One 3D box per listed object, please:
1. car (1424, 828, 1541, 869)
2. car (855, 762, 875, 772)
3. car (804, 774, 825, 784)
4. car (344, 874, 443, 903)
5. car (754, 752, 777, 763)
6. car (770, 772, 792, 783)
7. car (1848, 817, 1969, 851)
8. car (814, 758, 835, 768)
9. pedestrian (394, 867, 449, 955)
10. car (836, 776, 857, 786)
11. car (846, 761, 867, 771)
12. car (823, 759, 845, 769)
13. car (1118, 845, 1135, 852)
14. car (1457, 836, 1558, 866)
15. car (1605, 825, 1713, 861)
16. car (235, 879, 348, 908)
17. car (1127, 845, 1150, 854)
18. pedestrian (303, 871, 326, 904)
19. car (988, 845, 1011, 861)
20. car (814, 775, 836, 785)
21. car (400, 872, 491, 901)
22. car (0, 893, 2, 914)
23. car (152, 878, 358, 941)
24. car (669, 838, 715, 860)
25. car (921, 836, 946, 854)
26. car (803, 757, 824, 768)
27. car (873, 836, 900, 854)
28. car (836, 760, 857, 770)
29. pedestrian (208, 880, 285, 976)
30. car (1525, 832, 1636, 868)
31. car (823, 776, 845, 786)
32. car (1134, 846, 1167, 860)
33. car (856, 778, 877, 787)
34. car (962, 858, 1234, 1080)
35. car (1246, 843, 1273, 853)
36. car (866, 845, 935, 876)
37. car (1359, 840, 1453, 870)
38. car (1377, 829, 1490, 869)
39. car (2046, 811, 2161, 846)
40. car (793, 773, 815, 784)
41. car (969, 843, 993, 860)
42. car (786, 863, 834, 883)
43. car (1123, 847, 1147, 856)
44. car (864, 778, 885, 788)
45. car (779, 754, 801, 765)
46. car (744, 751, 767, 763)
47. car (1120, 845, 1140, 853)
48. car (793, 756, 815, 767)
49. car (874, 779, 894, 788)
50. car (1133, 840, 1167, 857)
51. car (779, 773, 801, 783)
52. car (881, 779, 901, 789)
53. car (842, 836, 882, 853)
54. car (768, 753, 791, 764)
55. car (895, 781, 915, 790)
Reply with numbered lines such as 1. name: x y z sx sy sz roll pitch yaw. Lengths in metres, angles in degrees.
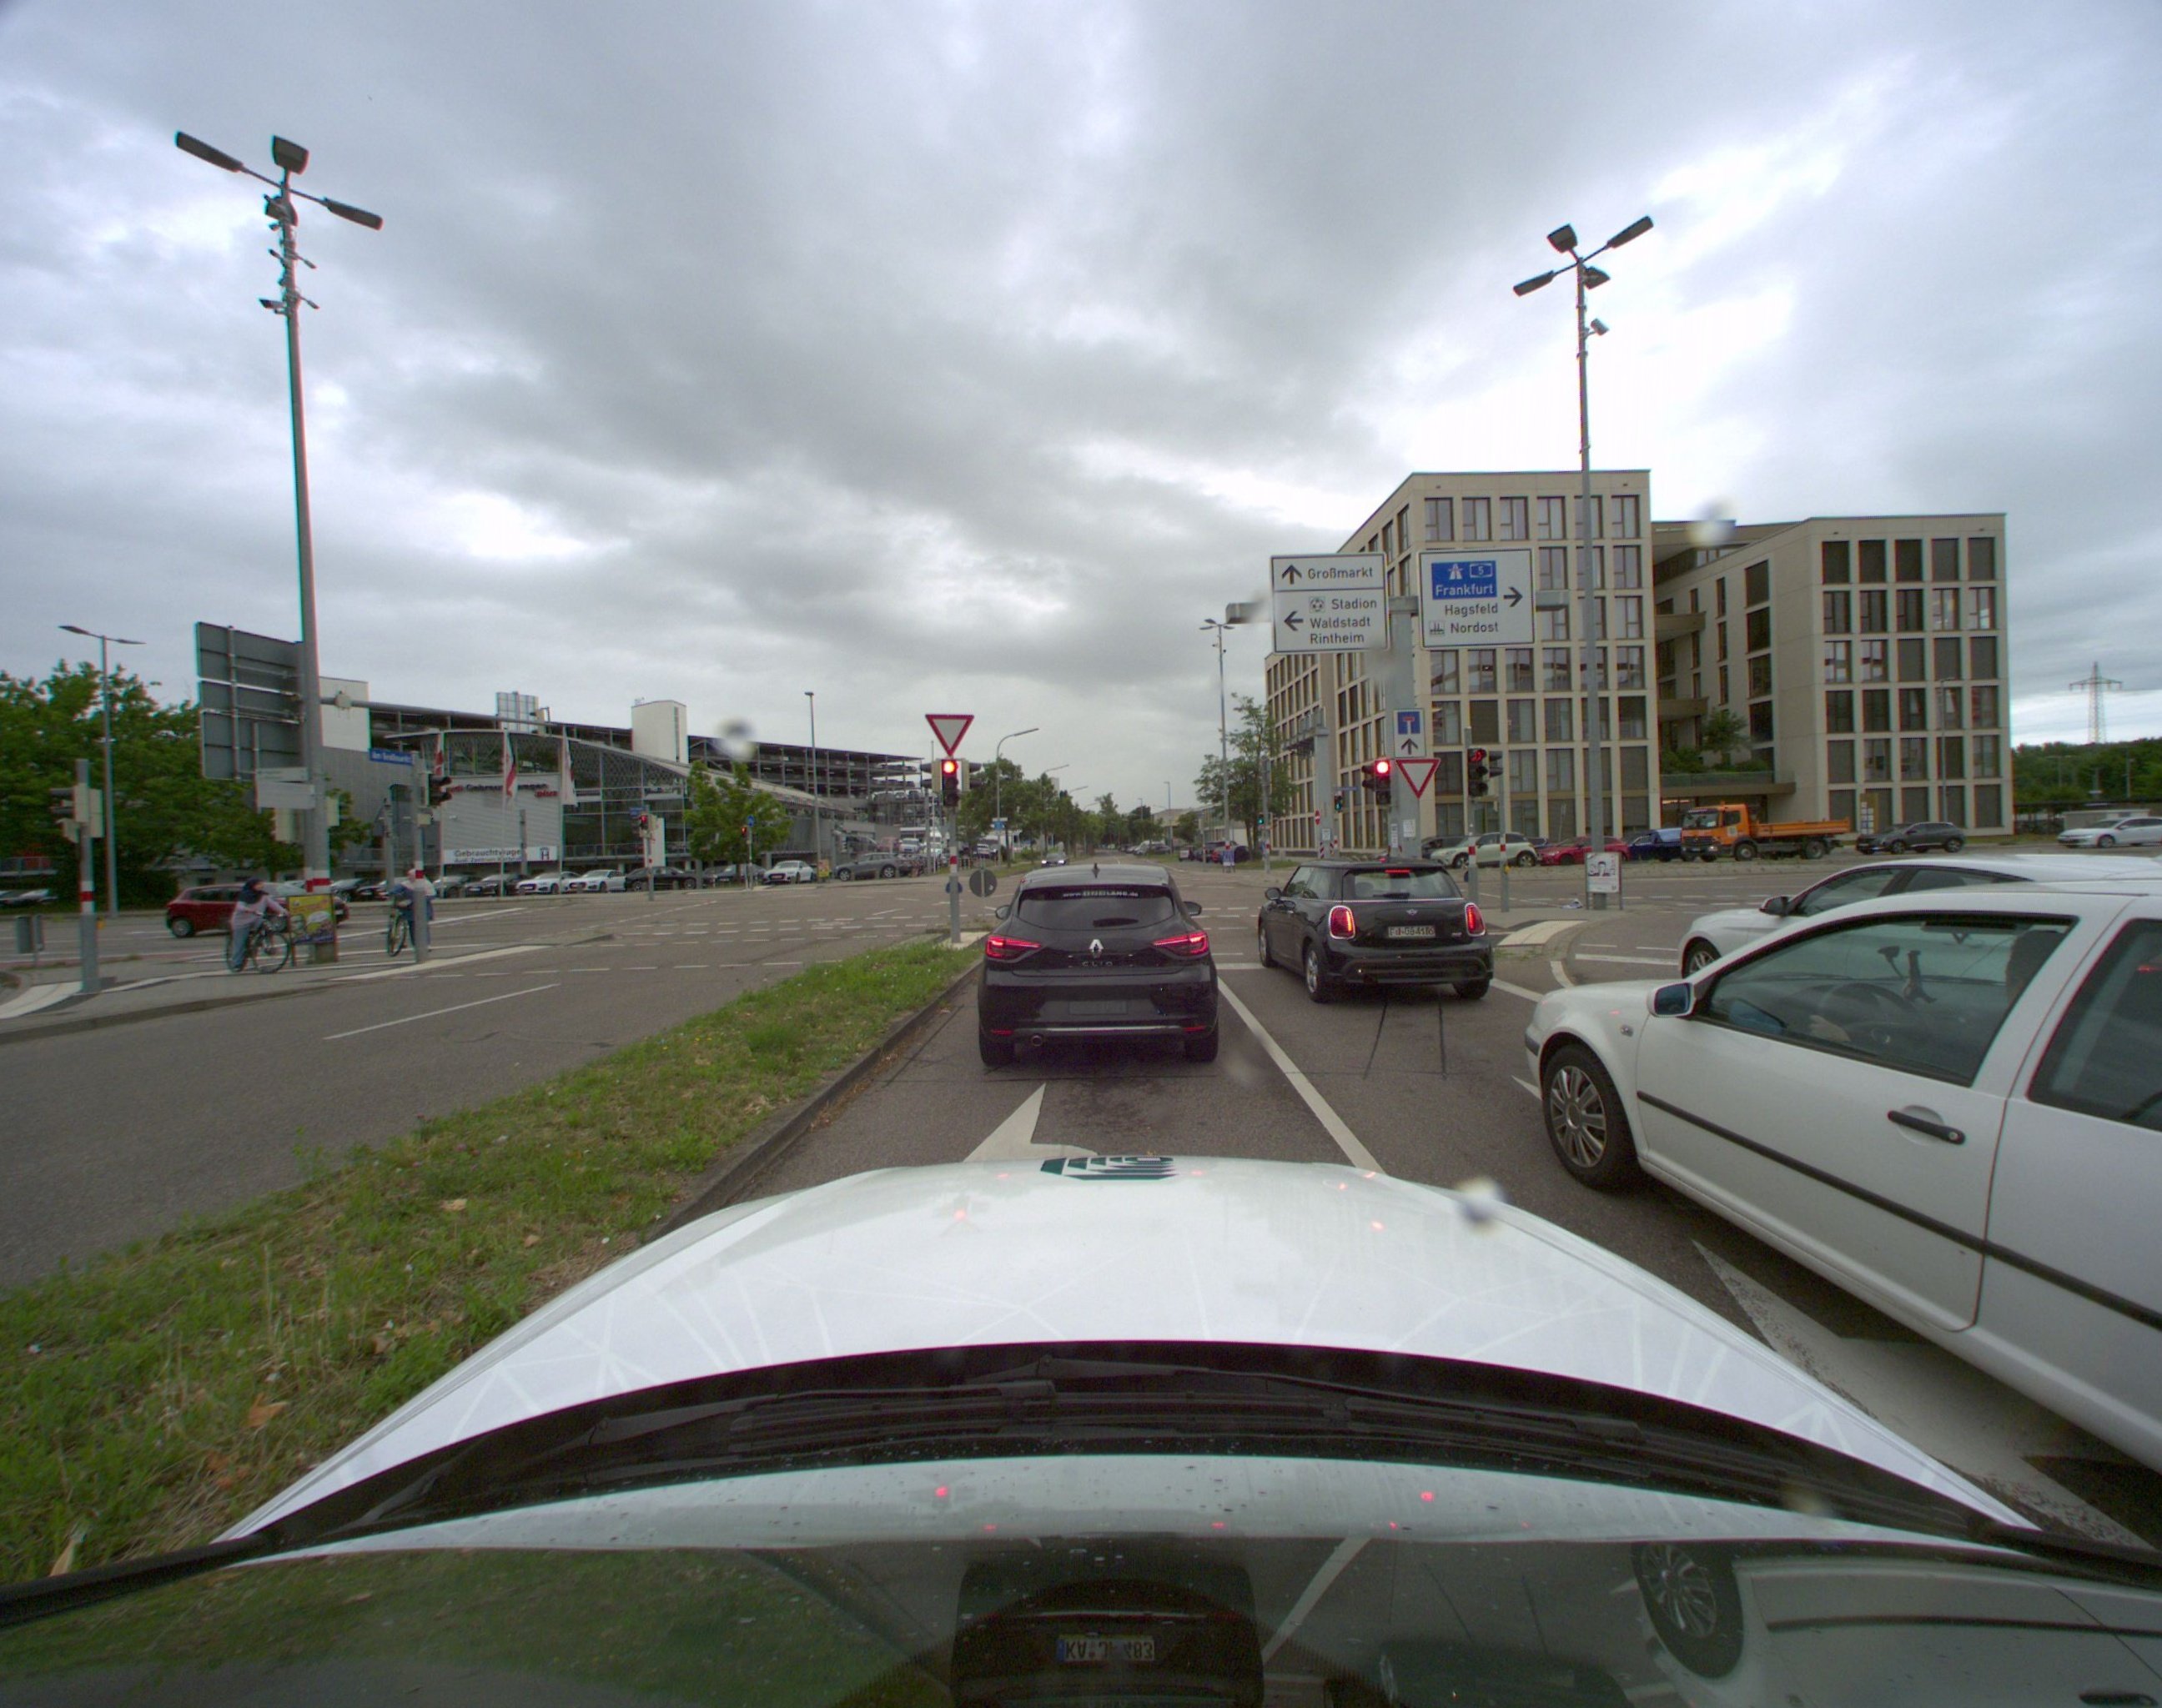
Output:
1. car: 16.919 -0.226 34.450 4.047 1.643 1.903 0 -1 -4
2. car: -45.508 -18.336 171.696 3.948 1.667 2.013 -1 0 33
3. car: -52.400 -14.717 160.134 3.948 1.667 2.013 -1 0 33
4. car: -38.403 1.954 45.637 1.883 1.471 4.375 -2 -2 -2
5. car: -58.652 -17.883 151.365 3.948 1.667 2.013 -1 0 33
6. car: -56.698 -14.418 153.795 3.948 1.667 2.013 -1 0 33
7. car: 42.585 -1.000 41.996 4.089 1.657 2.002 0 -1 3
8. car: -51.136 -18.160 162.412 3.948 1.667 2.013 -1 0 33
9. pedestrian: -12.857 1.108 15.869 0.683 1.626 0.645 -5 -1 42
10. car: -48.066 -14.911 166.652 3.948 1.667 2.013 -1 0 33
11. car: -46.684 -18.306 169.098 3.948 1.667 2.013 -1 0 33
12. car: -49.785 -18.147 164.204 3.948 1.667 2.013 -1 0 33
13. car: 12.903 -1.627 229.883 4.771 1.891 2.143 0 -1 -1
14. car: 21.485 -0.142 41.132 4.126 1.490 1.870 0 -1 -3
15. car: 29.475 -0.561 41.614 4.126 1.769 1.998 0 -1 -3
16. car: -43.818 2.173 45.363 1.837 1.472 4.660 -1 -2 -2
17. car: 12.389 -0.988 175.536 4.771 1.891 2.143 0 -1 -1
18. pedestrian: -45.257 1.976 48.096 0.714 1.871 0.673 -2 -2 0
19. car: -8.449 -0.040 84.779 1.987 1.618 3.999 0 -1 0
20. car: -51.015 -14.765 162.298 3.948 1.667 2.013 -1 0 33
21. car: -35.545 1.840 45.734 1.897 1.486 4.186 -2 -2 -2
22. car: -63.243 2.828 44.976 1.808 1.486 4.072 0 -5 -2
23. car: -24.249 1.597 24.031 4.058 1.487 1.738 -3 0 -5
24. car: -30.519 -0.397 63.961 1.815 1.662 3.996 0 -1 -3
25. car: -15.202 -0.901 84.012 1.988 1.823 3.997 0 -1 -2
26. car: -52.607 -17.982 160.143 3.948 1.667 2.013 -1 0 33
27. car: -20.099 -0.910 84.243 1.988 1.849 3.997 0 -1 -2
28. car: -48.130 -18.231 166.829 3.948 1.667 2.013 -1 0 33
29. pedestrian: -14.031 1.233 13.704 0.643 1.549 0.656 -3 -2 14
30. car: 23.241 -0.159 37.975 3.976 1.601 1.999 0 -1 -2
31. car: -49.773 -14.786 164.122 3.948 1.667 2.013 -1 0 33
32. car: 10.984 -0.147 128.935 5.158 2.014 2.143 0 -1 -1
33. car: -45.156 -15.006 171.345 3.948 1.667 2.013 -1 0 33
34. car: 0.173 0.763 7.287 1.750 1.434 4.001 0 -1 2
35. car: 24.245 -0.843 110.640 3.238 1.332 1.477 0 -1 -17
36. car: -13.759 0.484 62.169 4.765 2.013 1.997 -4 0 -5
37. car: 16.334 0.053 41.023 4.074 1.432 1.750 0 -1 -3
38. car: 16.270 -0.214 37.740 4.396 1.769 1.998 0 -1 -3
39. car: 51.615 -1.259 40.501 4.316 1.657 2.007 -1 -1 13
40. car: -53.816 -14.658 158.041 3.948 1.667 2.013 -1 0 33
41. car: -10.264 -0.226 83.846 1.988 1.618 3.997 0 -1 -2
42. car: -25.963 1.806 78.048 3.979 1.838 1.757 0 -1 -4
43. car: 12.011 -0.634 182.149 5.156 2.014 2.144 0 -1 0
44. car: -43.950 -15.082 173.280 3.948 1.667 2.013 -1 0 33
45. car: -55.616 -17.974 155.559 3.948 1.667 2.013 -1 0 33
46. car: -59.697 -17.741 149.339 3.948 1.667 2.013 -1 0 33
47. car: 13.152 -1.413 218.595 5.156 2.014 2.144 0 -1 0
48. car: -53.837 -17.989 158.159 3.948 1.667 2.013 -1 0 33
49. car: -42.588 -15.210 175.773 3.948 1.667 2.013 -1 0 33
50. car: 12.772 -1.060 151.524 6.096 3.116 2.134 0 -1 0
51. car: -55.729 -14.544 155.855 3.948 1.667 2.013 -1 0 33
52. car: -41.414 -15.284 177.704 3.948 1.667 2.013 -1 0 33
53. car: -24.490 -1.086 90.949 3.975 1.838 1.759 0 -1 -1
54. car: -56.962 -17.979 153.722 3.948 1.667 2.013 -1 0 33
55. car: -39.141 -15.229 181.002 3.948 1.667 2.013 -1 0 33
